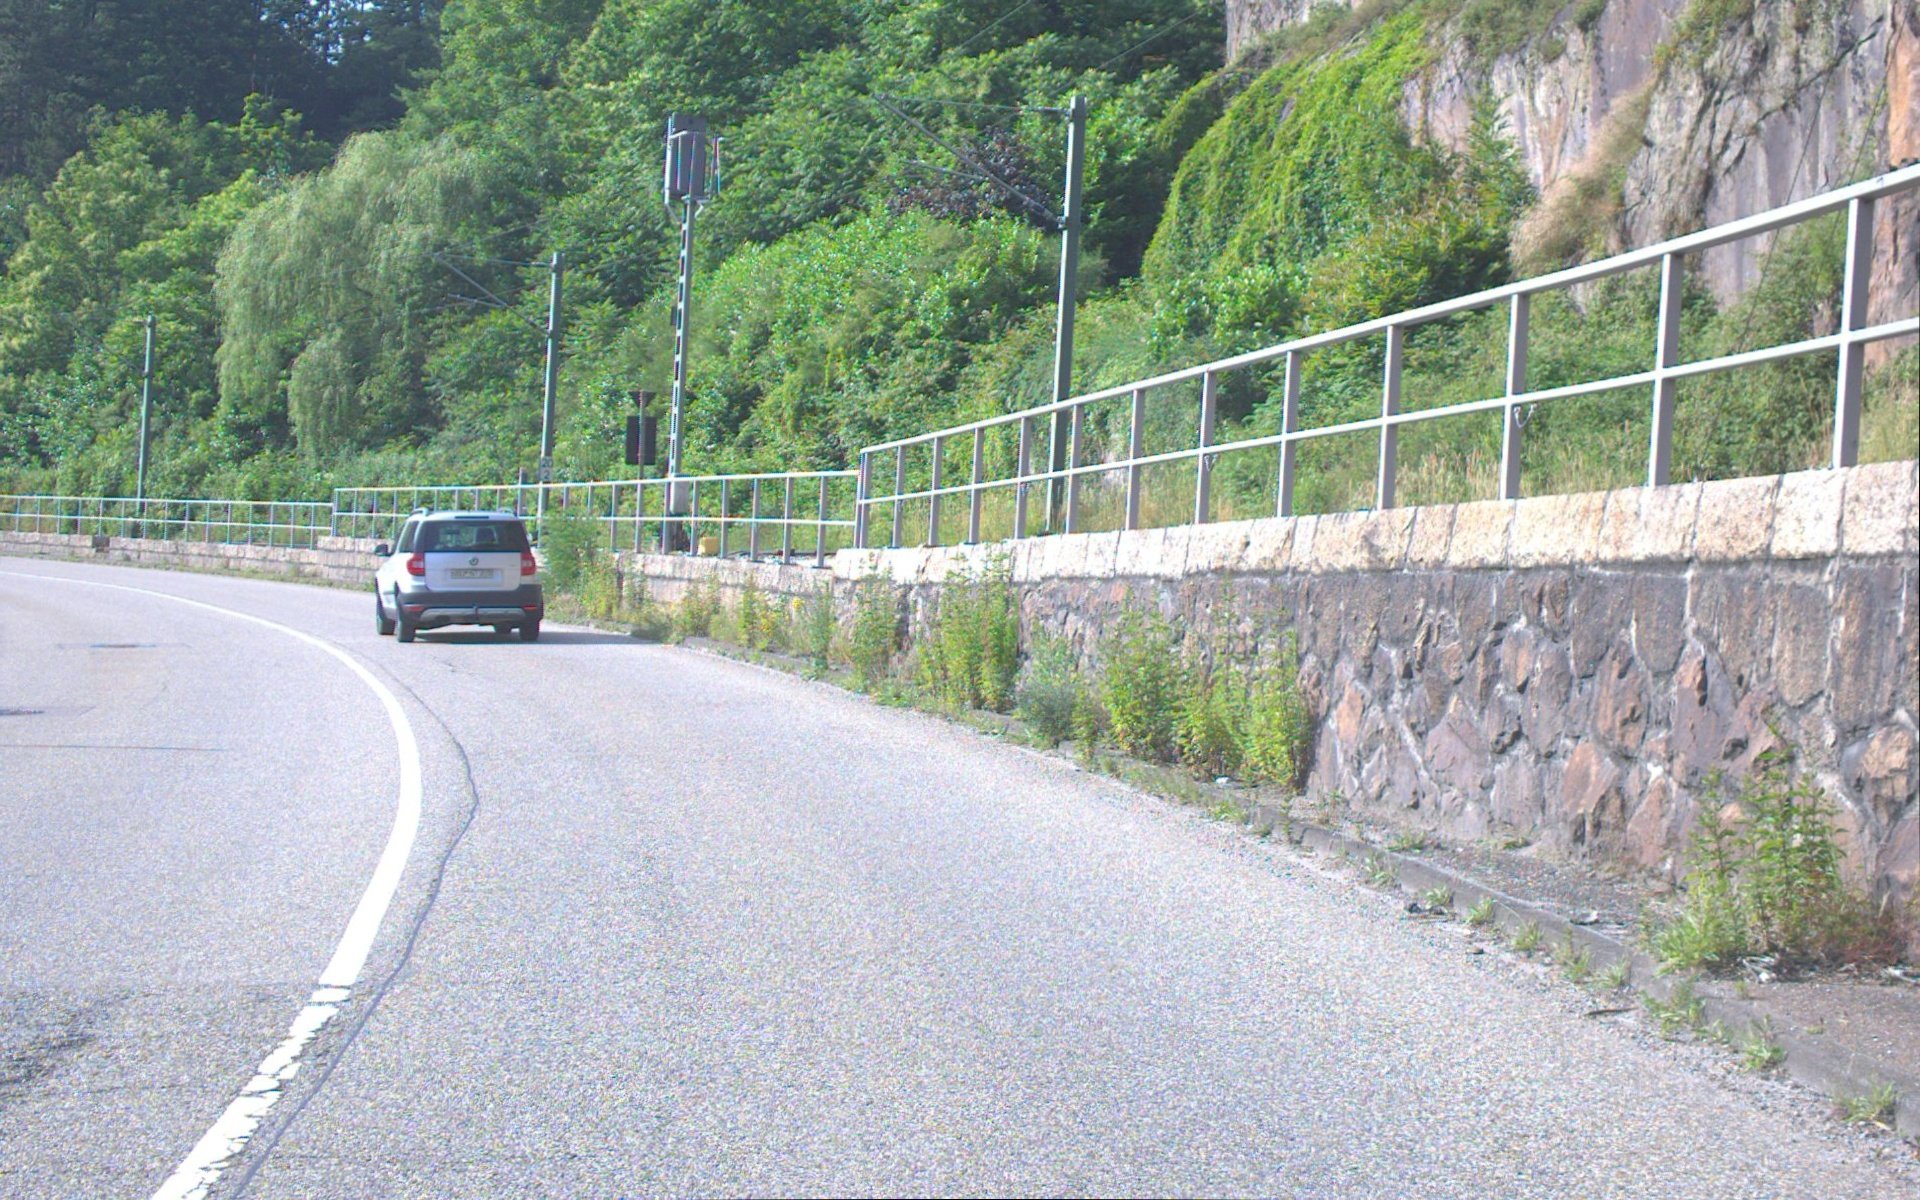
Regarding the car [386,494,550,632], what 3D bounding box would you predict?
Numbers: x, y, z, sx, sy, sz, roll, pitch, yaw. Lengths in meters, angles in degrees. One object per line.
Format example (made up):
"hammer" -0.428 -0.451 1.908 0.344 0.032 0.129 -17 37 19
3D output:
"car" -6.295 -0.503 43.684 1.872 1.650 4.001 0 2 -11
